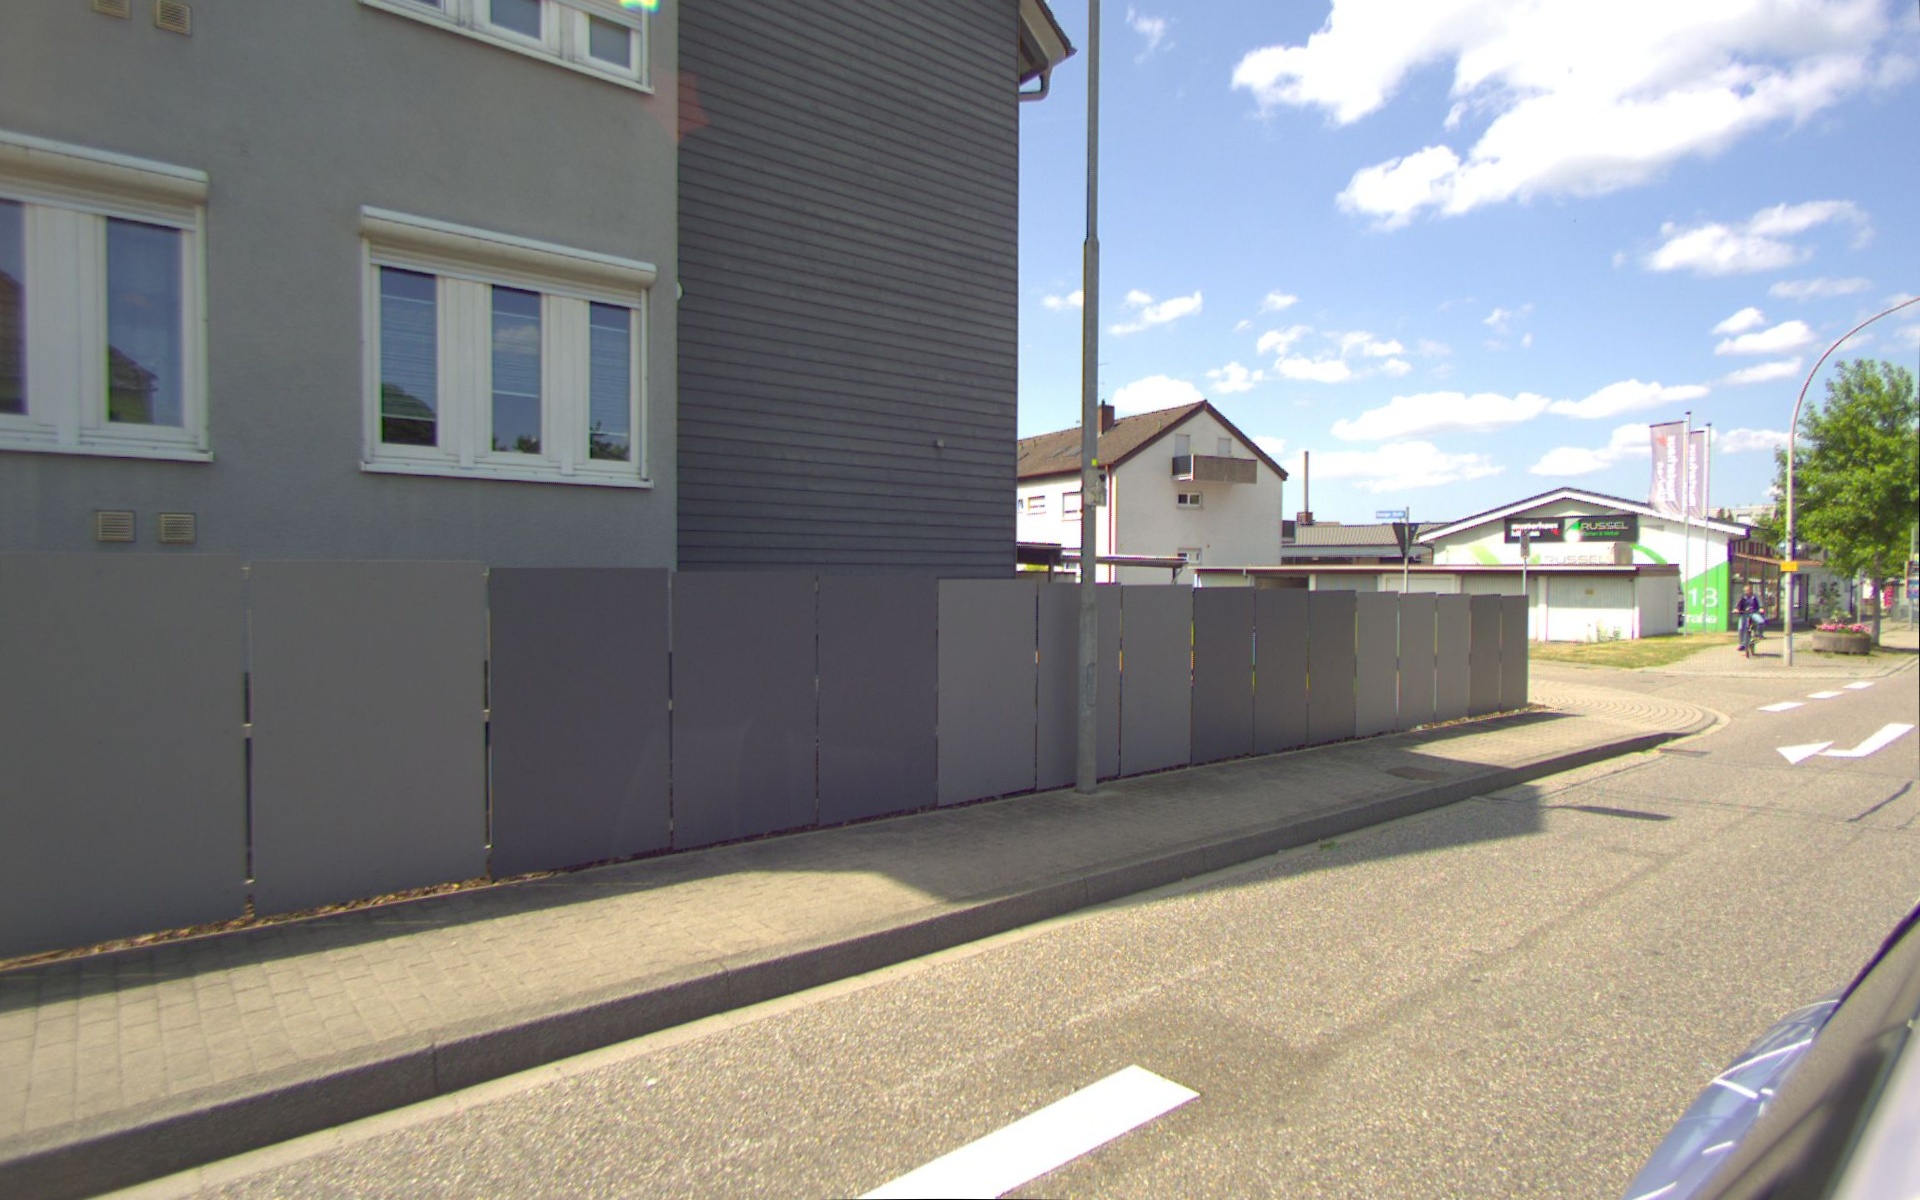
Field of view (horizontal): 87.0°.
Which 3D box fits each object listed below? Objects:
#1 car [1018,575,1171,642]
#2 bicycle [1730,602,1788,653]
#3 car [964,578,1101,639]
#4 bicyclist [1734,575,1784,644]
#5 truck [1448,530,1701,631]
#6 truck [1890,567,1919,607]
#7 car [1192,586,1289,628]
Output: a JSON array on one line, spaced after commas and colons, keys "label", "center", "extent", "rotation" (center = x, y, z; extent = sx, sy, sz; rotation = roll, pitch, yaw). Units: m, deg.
[{"label": "car", "center": [3.700, 0.244, 27.423], "extent": [4.140, 1.669, 1.741], "rotation": [2, 0, -40]}, {"label": "bicycle", "center": [19.664, 0.648, 24.892], "extent": [1.910, 1.179, 0.804], "rotation": [1, 1, -43]}, {"label": "car", "center": [2.138, 0.260, 29.267], "extent": [3.784, 1.607, 1.741], "rotation": [2, 0, -40]}, {"label": "bicyclist", "center": [19.653, 0.212, 24.886], "extent": [1.093, 1.650, 0.804], "rotation": [1, 0, -43]}, {"label": "truck", "center": [24.019, -0.770, 40.010], "extent": [2.633, 3.617, 8.180], "rotation": [-2, 2, -42]}, {"label": "truck", "center": [70.993, -0.961, 75.138], "extent": [2.571, 2.795, 6.241], "rotation": [3, 3, 41]}, {"label": "car", "center": [10.790, 0.220, 38.806], "extent": [4.060, 1.522, 1.678], "rotation": [-1, 1, -41]}]
